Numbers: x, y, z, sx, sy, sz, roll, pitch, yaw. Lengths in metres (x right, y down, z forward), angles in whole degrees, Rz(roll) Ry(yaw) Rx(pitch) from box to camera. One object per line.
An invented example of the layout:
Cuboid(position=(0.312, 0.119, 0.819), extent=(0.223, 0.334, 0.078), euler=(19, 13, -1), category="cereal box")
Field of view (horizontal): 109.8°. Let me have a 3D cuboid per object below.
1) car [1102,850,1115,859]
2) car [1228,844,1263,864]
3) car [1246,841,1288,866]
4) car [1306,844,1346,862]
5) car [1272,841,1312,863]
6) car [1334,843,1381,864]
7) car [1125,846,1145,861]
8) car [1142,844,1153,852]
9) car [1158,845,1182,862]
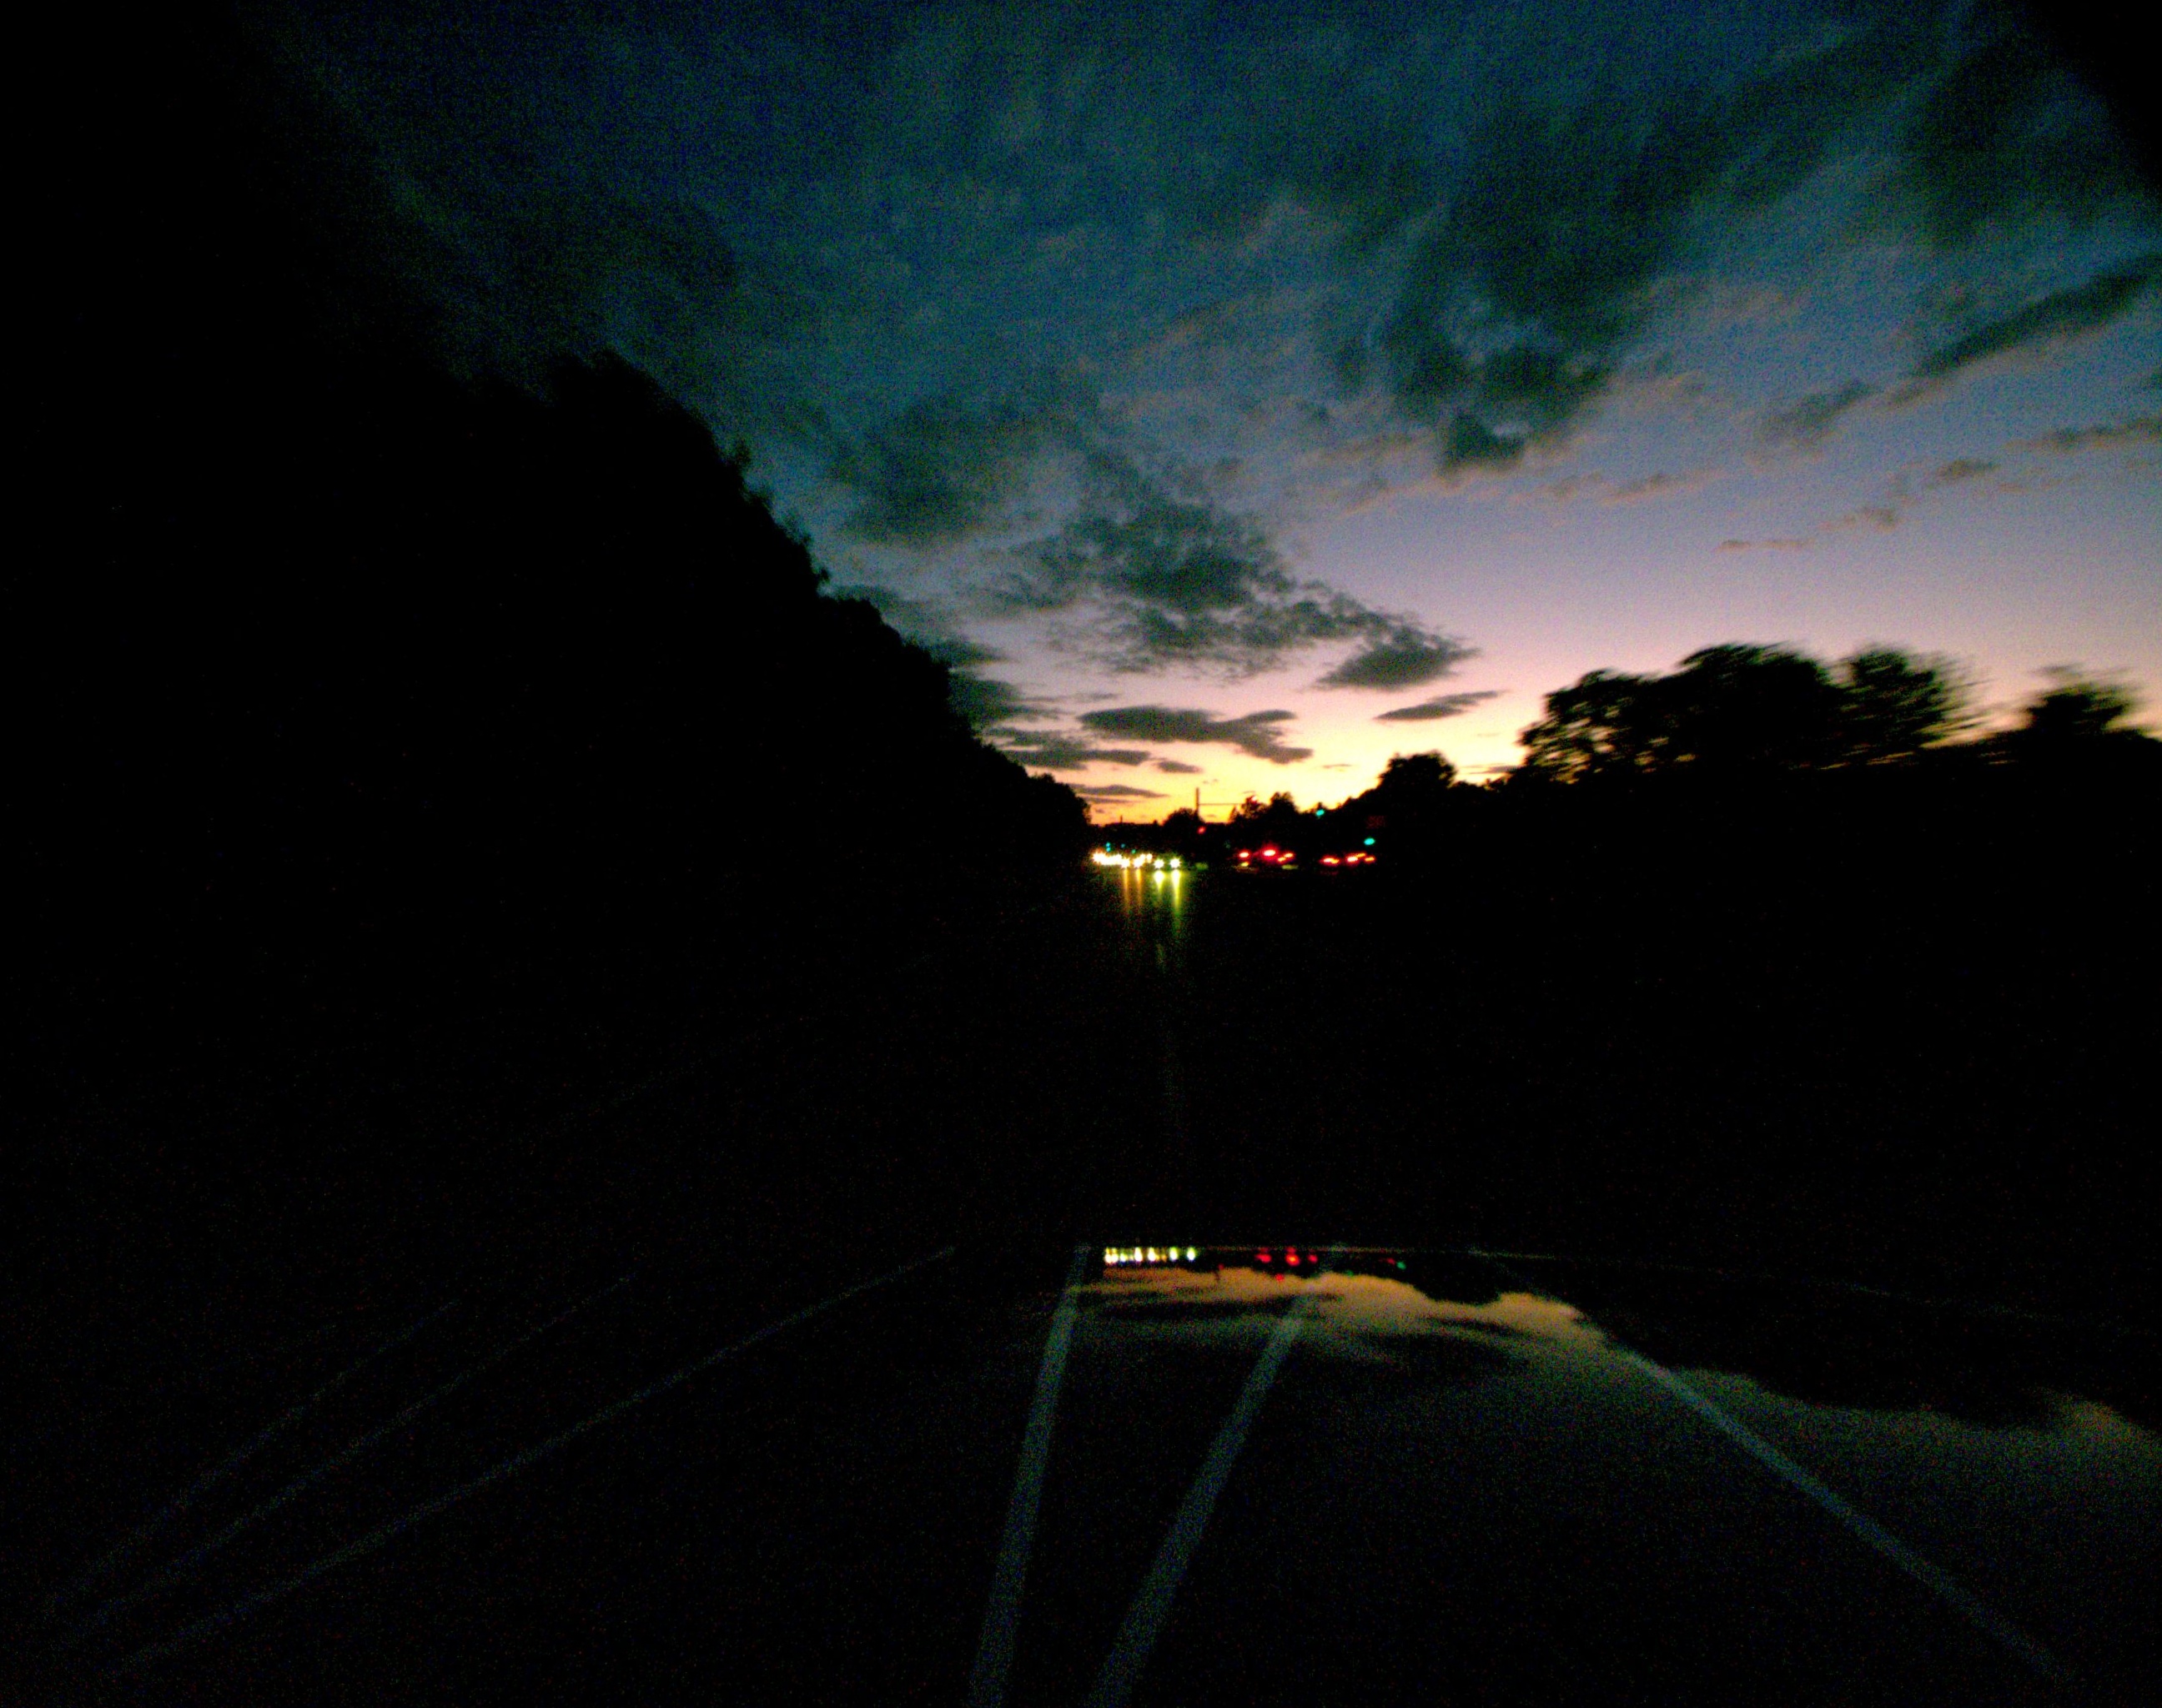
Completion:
Cuboid(position=(5.226, 0.089, 145.524), extent=(2.006, 1.718, 4.003), euler=(-1, 1, 10), category="car")
Cuboid(position=(12.765, -0.026, 59.142), extent=(1.998, 1.444, 5.048), euler=(0, 1, 5), category="car")
Cuboid(position=(12.397, -0.058, 50.912), extent=(1.998, 1.561, 4.824), euler=(0, 1, 5), category="car")
Cuboid(position=(20.462, -0.112, 63.643), extent=(1.998, 1.444, 4.735), euler=(0, 0, 3), category="car")
Cuboid(position=(16.963, -0.195, 61.270), extent=(1.998, 1.672, 4.873), euler=(0, 1, 2), category="car")
Cuboid(position=(20.010, -0.062, 55.222), extent=(1.998, 1.444, 4.735), euler=(0, 1, 4), category="car")
Cuboid(position=(5.624, -0.046, 79.397), extent=(1.998, 1.444, 4.000), euler=(1, 0, 2), category="car")
Cuboid(position=(14.777, -1.318, 168.348), extent=(2.056, 1.587, 4.003), euler=(-1, 0, 10), category="car")
Cuboid(position=(8.081, -0.059, 69.104), extent=(1.998, 1.445, 4.735), euler=(-1, 1, 5), category="car")
